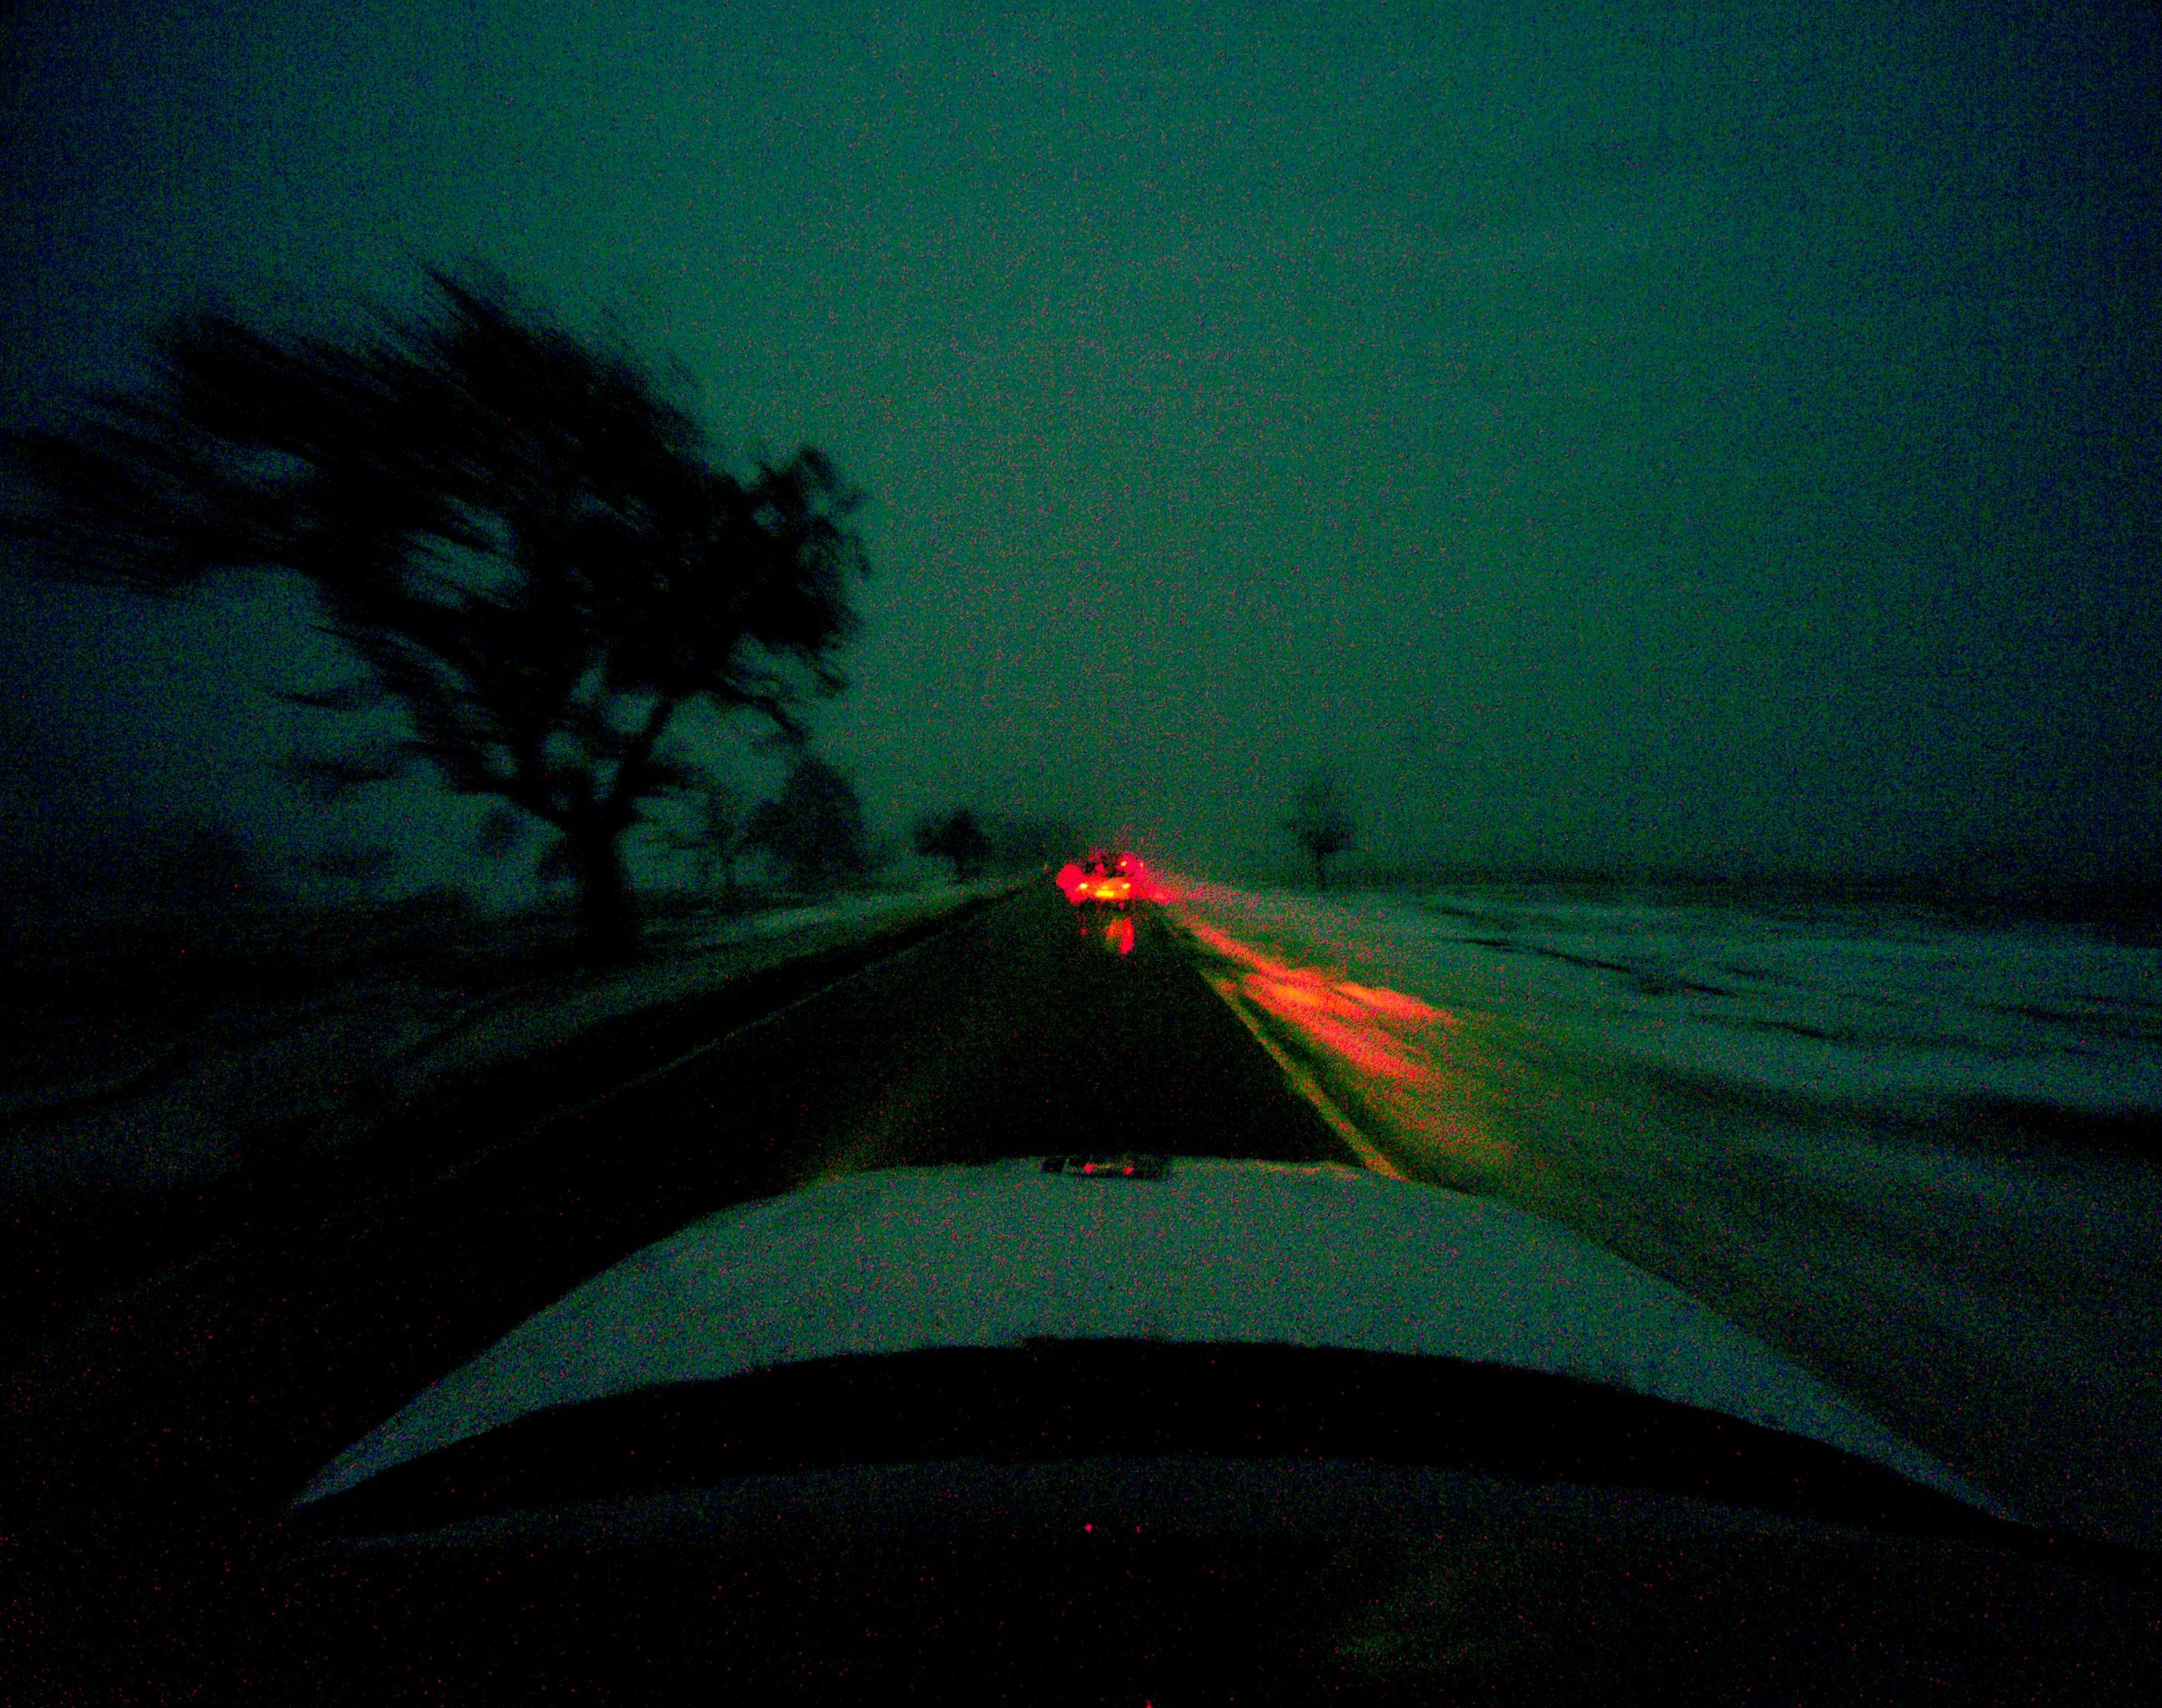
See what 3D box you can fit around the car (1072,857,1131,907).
[{"bbox_3d":[0.614,0.833,25.723,1.701,1.463,3.999,1,-1,0],"label":"car"}]
